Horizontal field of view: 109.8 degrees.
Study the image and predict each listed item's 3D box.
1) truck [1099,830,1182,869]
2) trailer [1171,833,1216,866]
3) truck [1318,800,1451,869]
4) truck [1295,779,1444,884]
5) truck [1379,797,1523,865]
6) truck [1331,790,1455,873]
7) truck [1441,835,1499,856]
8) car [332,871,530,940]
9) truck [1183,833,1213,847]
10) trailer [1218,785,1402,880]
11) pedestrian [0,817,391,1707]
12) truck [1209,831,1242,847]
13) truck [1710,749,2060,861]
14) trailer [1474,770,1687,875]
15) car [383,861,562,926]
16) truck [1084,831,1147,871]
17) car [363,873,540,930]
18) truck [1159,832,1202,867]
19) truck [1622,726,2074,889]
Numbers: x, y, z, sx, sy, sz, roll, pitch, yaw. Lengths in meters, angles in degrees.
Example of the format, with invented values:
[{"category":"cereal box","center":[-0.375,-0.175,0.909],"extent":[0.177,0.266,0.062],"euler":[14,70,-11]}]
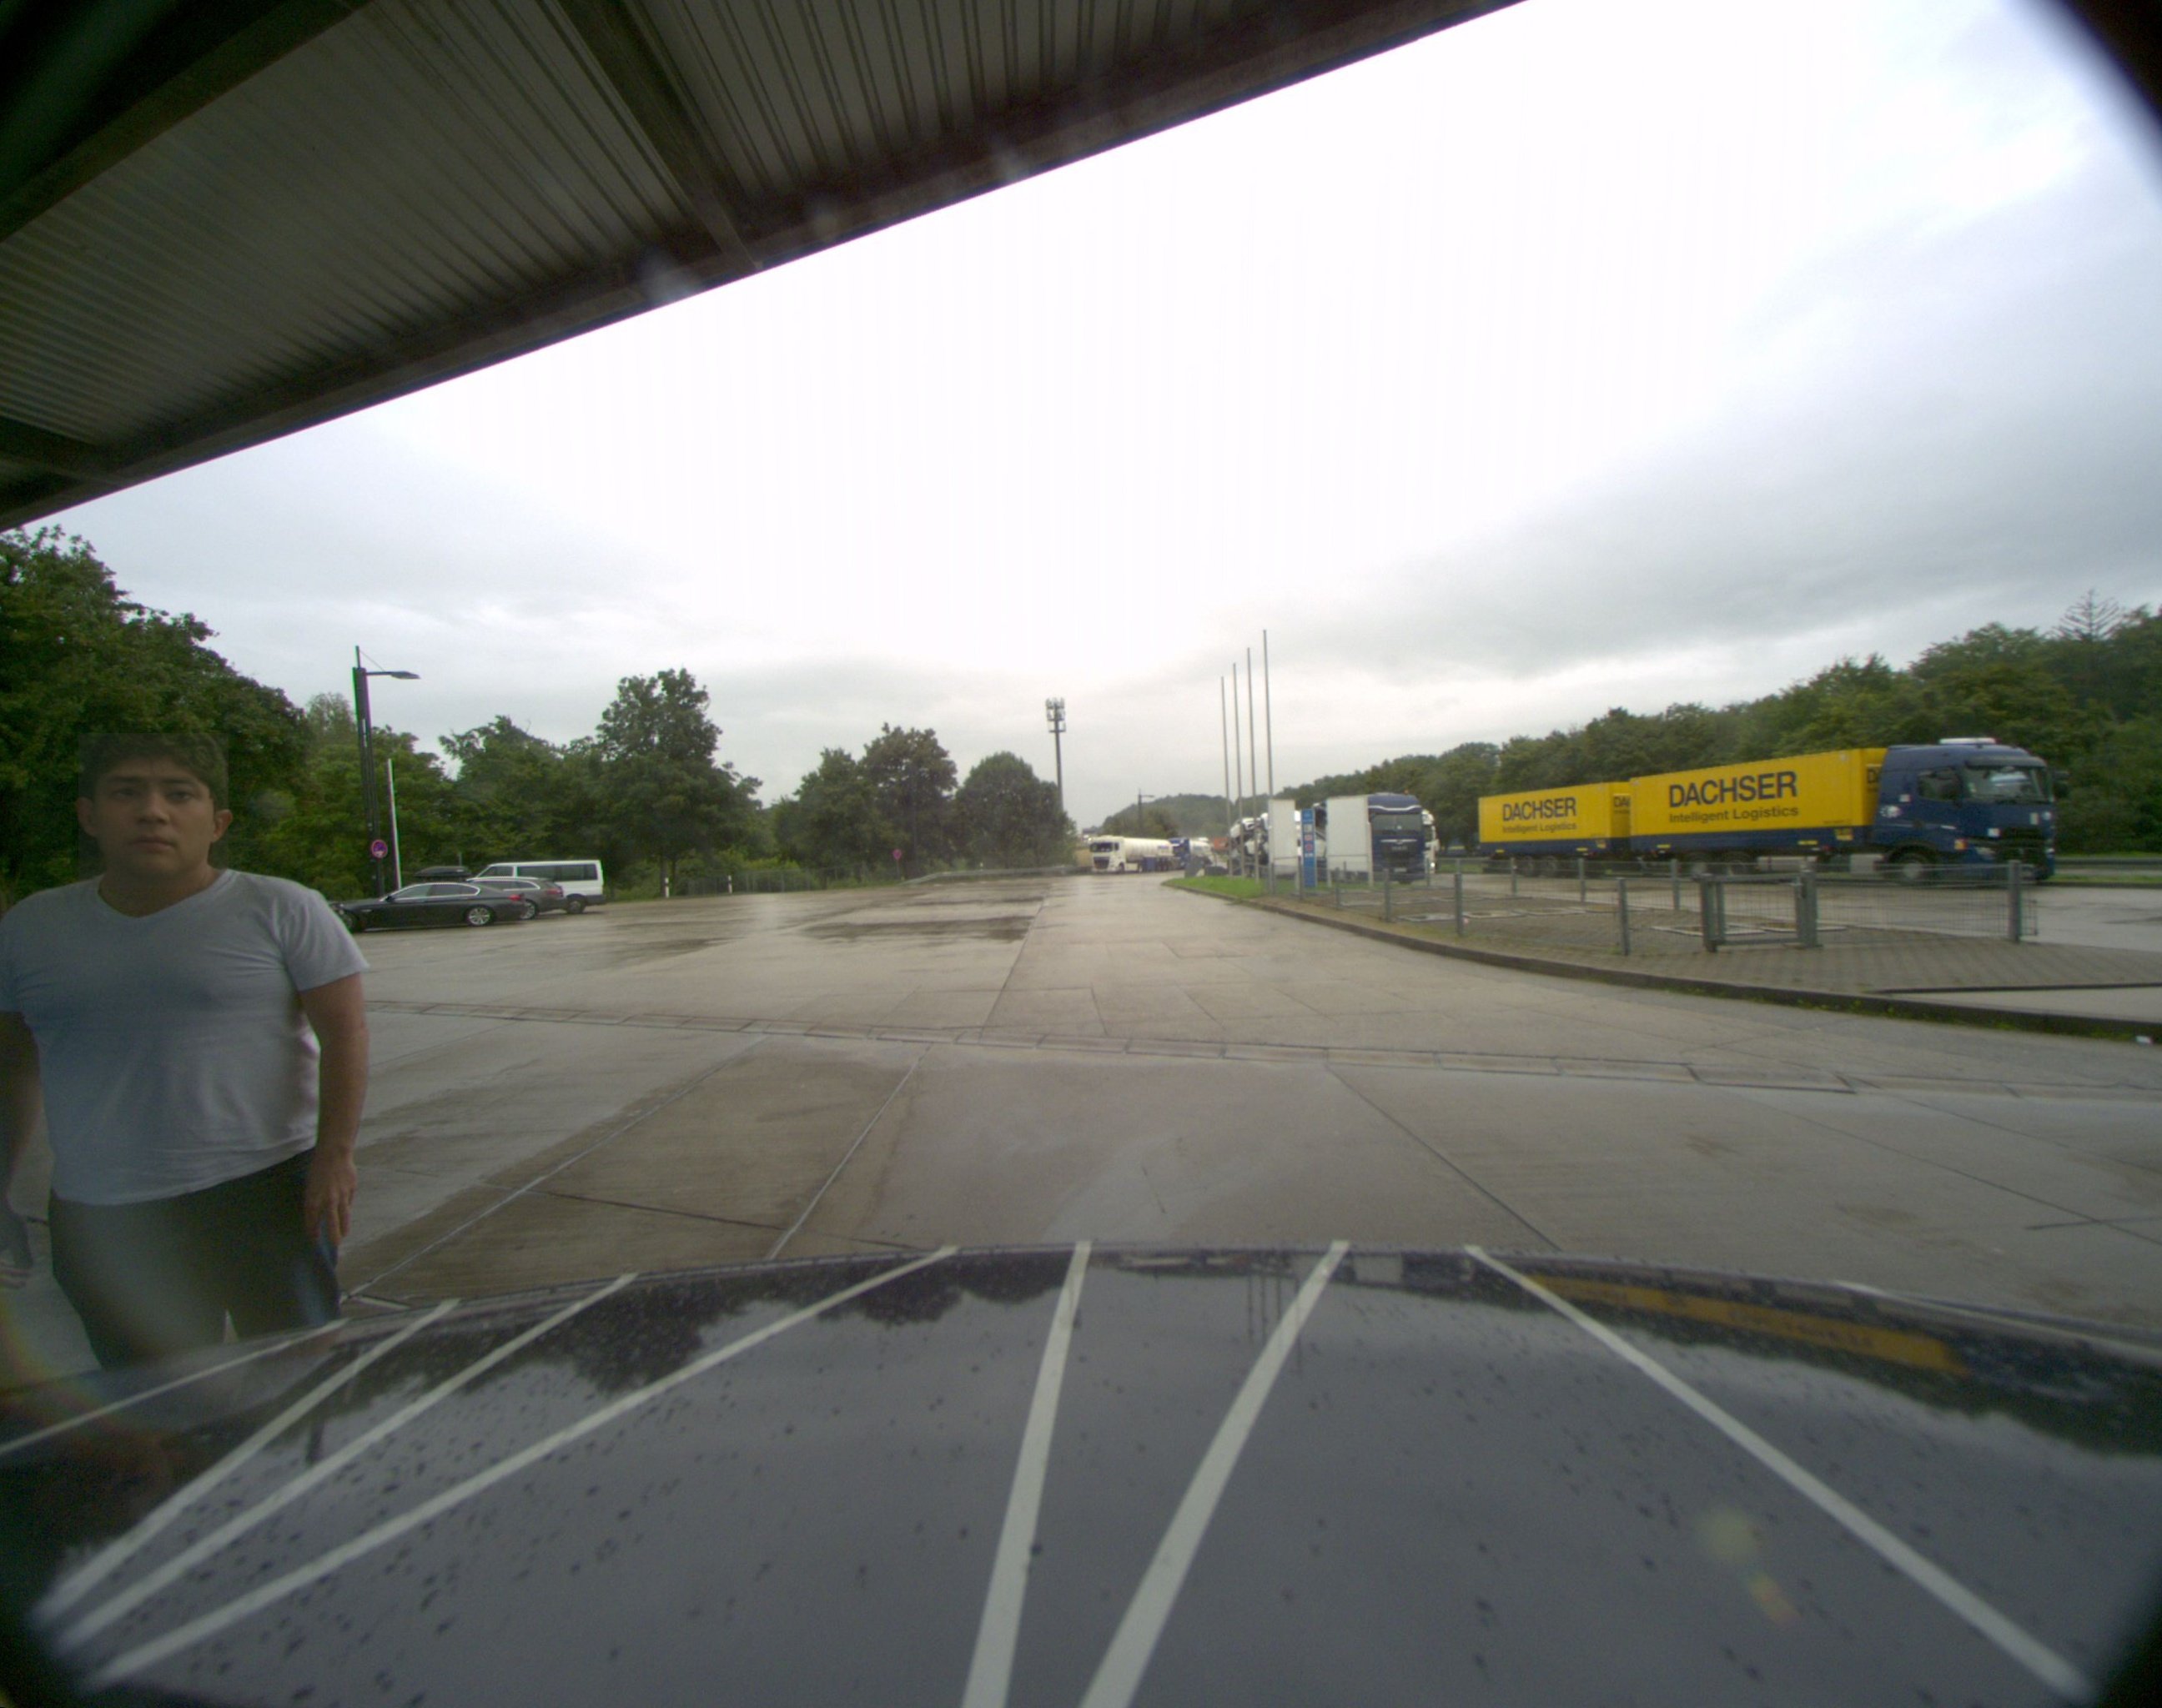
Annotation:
[{"category":"truck","center":[6.191,-0.521,76.368],"extent":[3.243,3.544,11.995],"euler":[-2,1,31]},{"category":"trailer","center":[13.660,-0.649,91.460],"extent":[2.898,3.618,10.586],"euler":[-2,1,22]},{"category":"truck","center":[19.751,-1.218,50.451],"extent":[2.991,4.009,10.464],"euler":[-2,1,-10]},{"category":"truck","center":[12.296,-0.921,33.266],"extent":[2.990,4.009,7.259],"euler":[-2,1,-7]},{"category":"truck","center":[24.354,-1.401,50.975],"extent":[2.991,4.009,10.464],"euler":[-2,1,-10]},{"category":"truck","center":[16.626,-1.155,41.095],"extent":[2.991,4.009,6.736],"euler":[-2,1,-10]},{"category":"truck","center":[45.872,-0.989,89.850],"extent":[3.135,2.290,6.172],"euler":[-2,0,-7]},{"category":"car","center":[-19.129,1.449,22.659],"extent":[4.187,1.720,1.995],"euler":[-2,0,-33]},{"category":"truck","center":[30.714,-3.654,200.298],"extent":[3.251,3.543,16.548],"euler":[-2,1,-7]},{"category":"trailer","center":[11.367,-0.998,40.958],"extent":[2.990,4.009,16.597],"euler":[-2,1,-7]},{"category":"pedestrian","center":[-1.906,0.843,1.503],"extent":[0.635,1.800,0.493],"euler":[-4,3,-34]},{"category":"truck","center":[33.507,-3.452,177.037],"extent":[3.251,3.543,14.656],"euler":[-2,1,-7]},{"category":"truck","center":[33.766,-1.845,32.951],"extent":[2.991,4.009,10.464],"euler":[-2,1,-10]},{"category":"trailer","center":[21.776,-1.273,34.011],"extent":[2.774,4.009,8.853],"euler":[-2,1,-8]},{"category":"car","center":[-21.416,1.335,27.044],"extent":[4.780,1.974,2.010],"euler":[-2,0,-36]},{"category":"truck","center":[3.308,-0.354,71.456],"extent":[3.243,3.544,6.114],"euler":[-2,1,31]},{"category":"car","center":[-20.360,1.475,24.851],"extent":[4.187,1.547,1.995],"euler":[-2,0,-33]},{"category":"truck","center":[11.319,-0.522,85.753],"extent":[3.045,3.745,6.475],"euler":[-2,1,23]},{"category":"truck","center":[23.054,-1.212,24.328],"extent":[2.774,4.009,10.632],"euler":[-2,1,-8]}]
